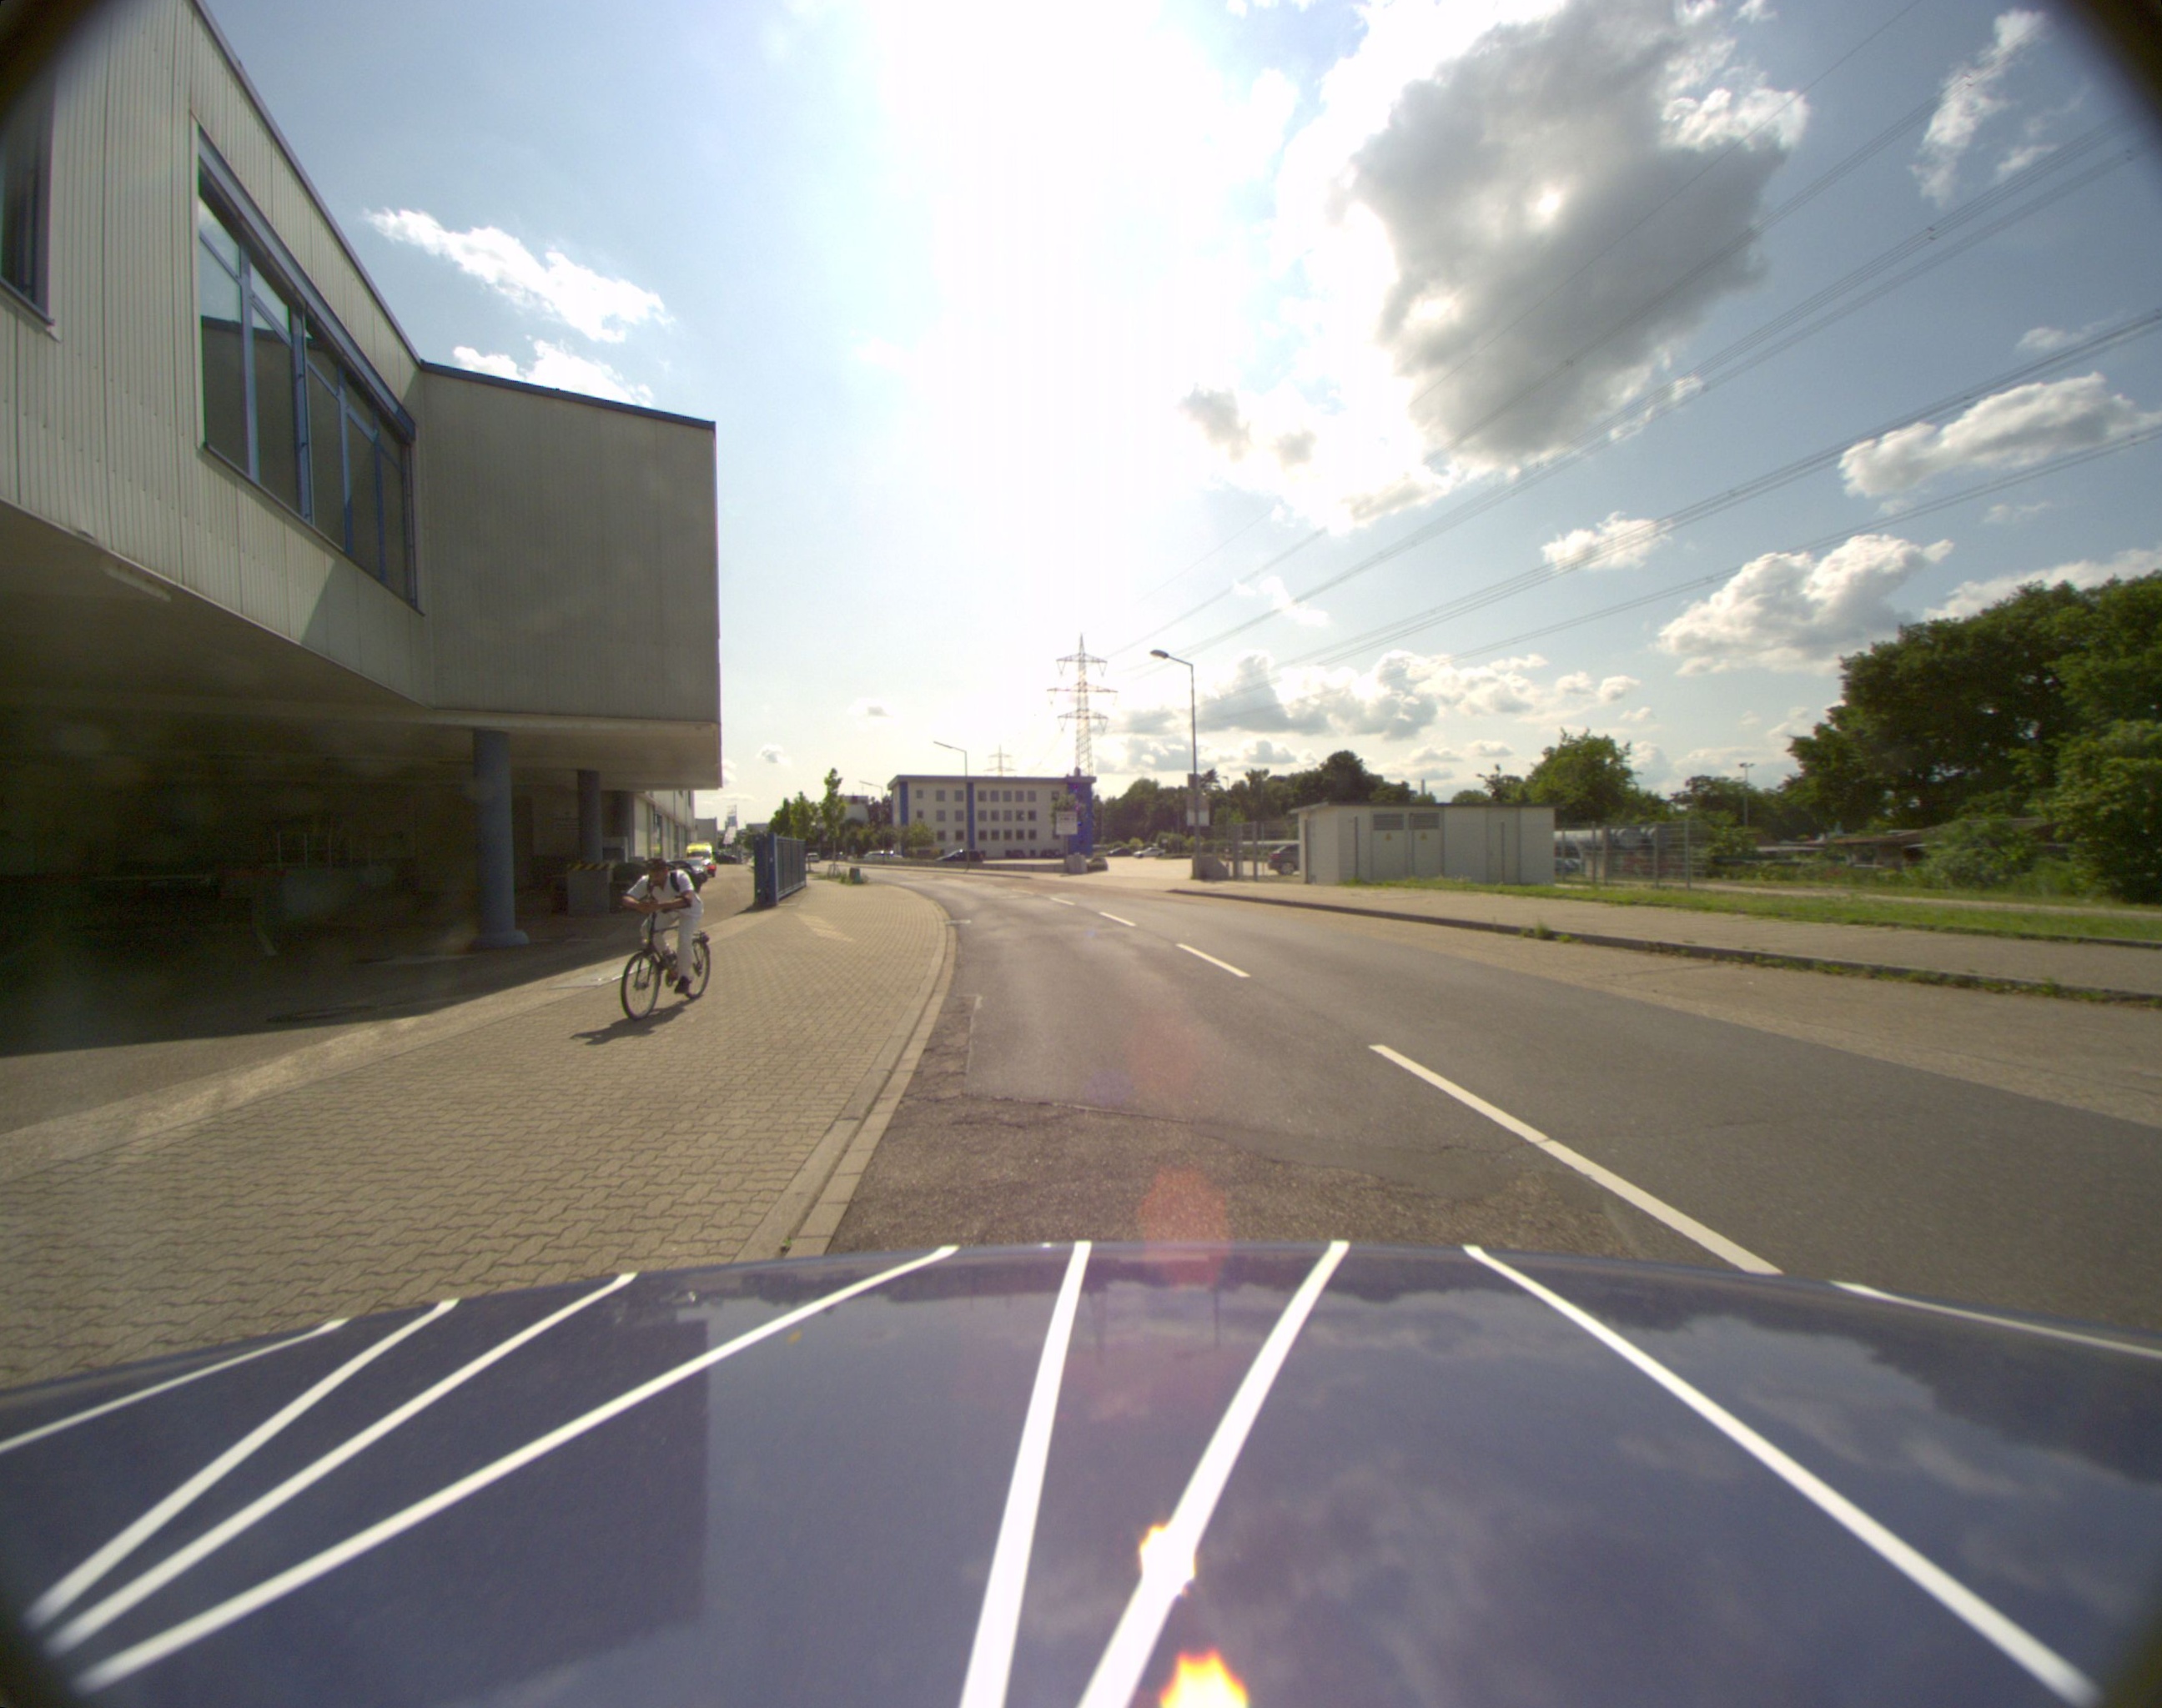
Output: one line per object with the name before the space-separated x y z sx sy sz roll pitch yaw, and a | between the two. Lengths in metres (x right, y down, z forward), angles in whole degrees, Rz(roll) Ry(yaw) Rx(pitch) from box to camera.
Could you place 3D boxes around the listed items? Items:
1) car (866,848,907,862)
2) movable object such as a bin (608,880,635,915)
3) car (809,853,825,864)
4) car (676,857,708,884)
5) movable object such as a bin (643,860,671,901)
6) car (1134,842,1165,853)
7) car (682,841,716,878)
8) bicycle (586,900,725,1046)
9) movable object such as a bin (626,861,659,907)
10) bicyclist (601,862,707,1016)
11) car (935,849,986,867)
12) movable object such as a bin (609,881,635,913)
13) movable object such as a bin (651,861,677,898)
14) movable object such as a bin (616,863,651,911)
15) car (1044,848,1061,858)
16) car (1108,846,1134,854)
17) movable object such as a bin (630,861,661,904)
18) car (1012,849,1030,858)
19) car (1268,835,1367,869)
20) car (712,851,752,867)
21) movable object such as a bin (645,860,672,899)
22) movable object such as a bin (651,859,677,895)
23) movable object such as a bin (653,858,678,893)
car | -24.793 0.146 96.982 4.776 1.593 1.996 -3 2 -25
movable object such as a bin | -13.540 1.272 22.391 0.591 0.938 0.543 -4 3 -28
car | -45.099 0.818 129.603 1.876 1.699 4.742 -3 2 -26
car | -22.724 0.910 44.512 1.503 1.395 3.846 -3 2 -26
movable object such as a bin | -15.520 0.949 27.834 0.807 1.406 1.424 -4 3 -28
car | 9.450 -0.923 104.907 3.827 1.465 1.801 -2 1 -13
car | -27.215 0.325 54.266 1.932 2.450 5.247 -3 2 -26
bicycle | -4.250 1.107 7.781 0.669 1.102 2.164 -2 1 -14
movable object such as a bin | -14.482 0.982 25.120 0.807 1.406 1.354 -4 3 -28
bicyclist | -4.194 0.798 7.527 0.666 1.390 0.857 -2 2 -14
car | -10.487 0.343 66.189 4.005 1.368 1.799 -2 1 -26
movable object such as a bin | -13.789 1.292 22.834 0.601 0.905 0.416 -4 3 -28
movable object such as a bin | -16.675 0.999 30.411 0.807 1.406 1.355 -3 3 -26
movable object such as a bin | -13.984 1.005 23.768 0.807 1.406 1.354 -4 3 -28
car | -4.395 -0.183 116.735 1.569 1.368 3.673 -2 2 -22
car | 6.403 -0.671 121.907 3.612 1.244 1.800 -2 1 -17
movable object such as a bin | -15.094 0.966 26.381 0.807 1.406 1.402 -4 3 -28
car | -9.168 -0.059 115.931 1.569 1.368 3.673 -2 1 -22
car | 10.589 -0.094 34.240 3.994 1.370 1.804 -1 1 8
car | -41.358 0.571 90.054 4.103 1.676 1.995 -2 2 -27
movable object such as a bin | -16.175 0.946 29.091 0.807 1.406 1.172 -4 3 -28
movable object such as a bin | -17.398 0.939 31.749 0.807 1.406 1.355 -3 3 -26
movable object such as a bin | -18.140 0.930 33.185 0.807 1.406 1.355 -3 3 -26
